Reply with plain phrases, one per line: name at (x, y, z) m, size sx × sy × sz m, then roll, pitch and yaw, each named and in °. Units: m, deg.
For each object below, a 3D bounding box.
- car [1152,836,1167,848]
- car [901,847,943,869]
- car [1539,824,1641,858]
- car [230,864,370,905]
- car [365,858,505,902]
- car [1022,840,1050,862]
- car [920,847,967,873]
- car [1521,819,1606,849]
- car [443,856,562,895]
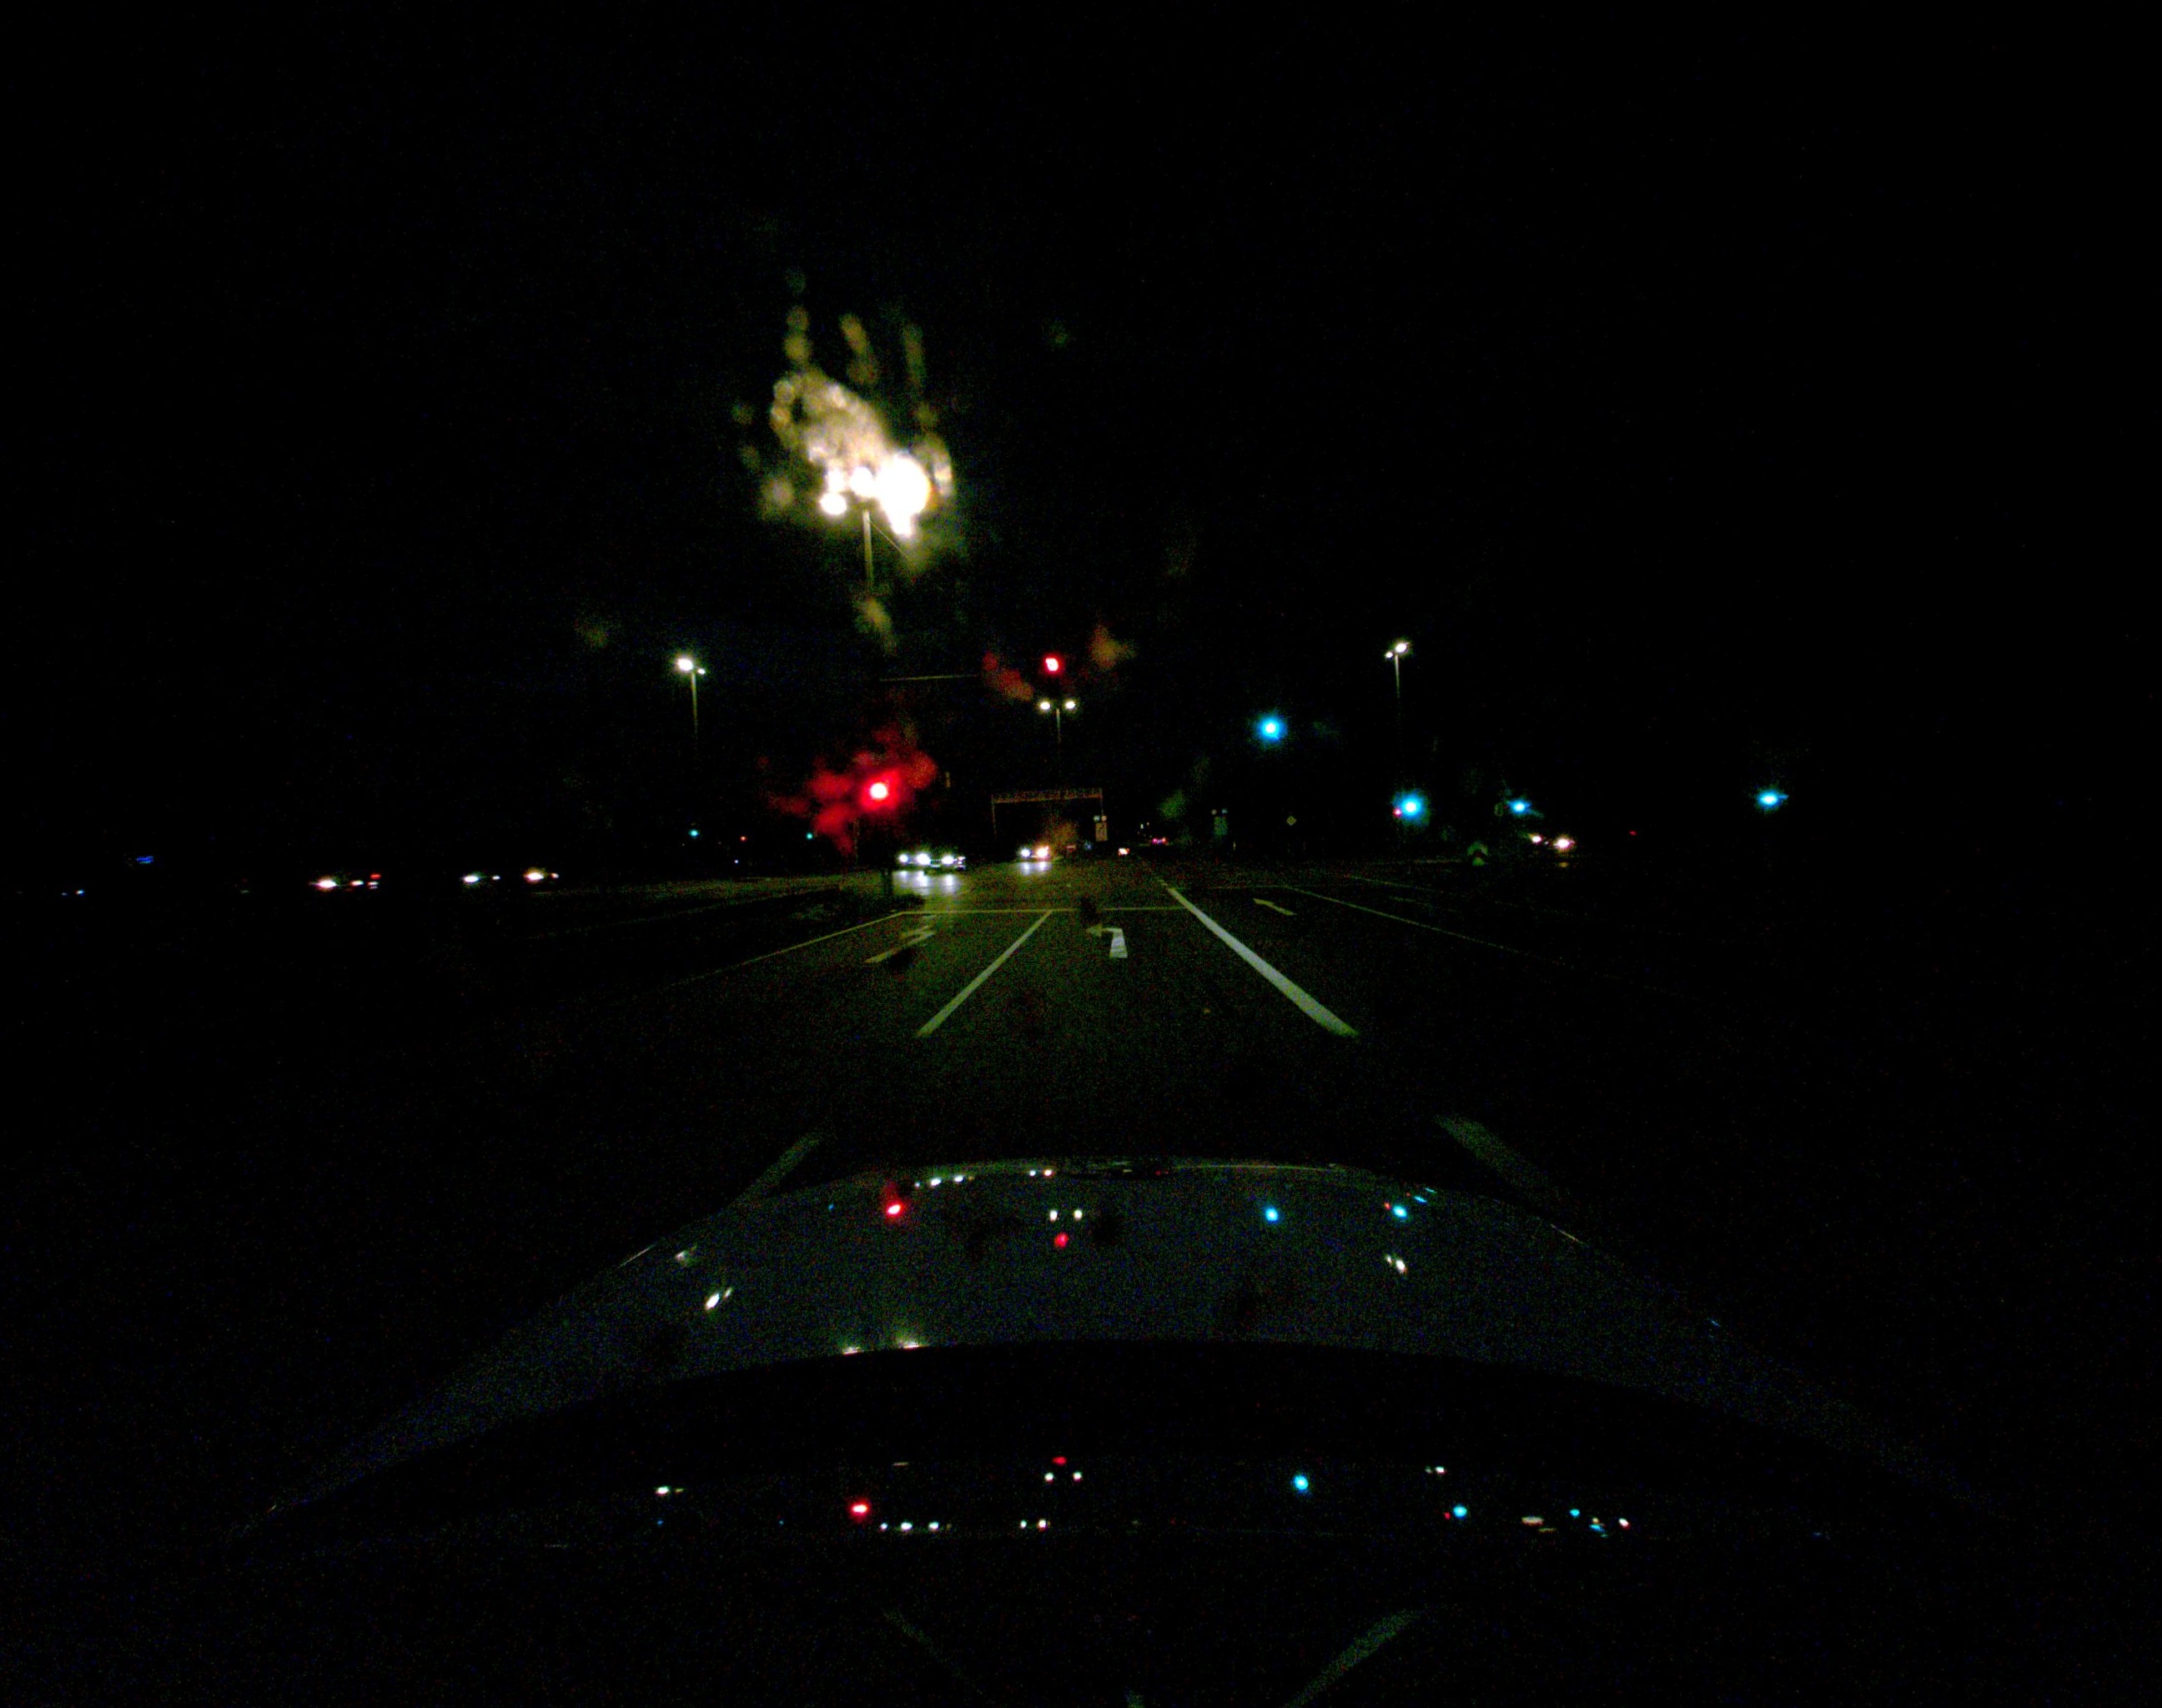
car at (10.915, -1.699, 113.791) m, size 1.998 × 1.611 × 3.850 m, roll -1°, pitch 0°, yaw 5°
car at (-11.435, 0.232, 58.763) m, size 1.986 × 1.425 × 4.534 m, roll -2°, pitch 1°, yaw 1°
car at (26.392, -0.675, 42.309) m, size 4.061 × 1.569 × 2.002 m, roll -2°, pitch 1°, yaw -1°
car at (-32.519, 1.239, 34.006) m, size 3.979 × 1.473 × 1.727 m, roll -2°, pitch 0°, yaw -4°
car at (-26.449, 1.045, 33.429) m, size 4.298 × 1.537 × 1.730 m, roll -2°, pitch 0°, yaw 1°
car at (-3.765, -0.297, 68.866) m, size 1.986 × 1.698 × 4.002 m, roll -2°, pitch 1°, yaw 1°
car at (-8.508, 0.318, 50.910) m, size 1.986 × 1.481 × 4.684 m, roll -2°, pitch 1°, yaw 1°
car at (28.940, -1.192, 48.881) m, size 3.975 × 1.569 × 1.900 m, roll -2°, pitch 1°, yaw -1°
car at (-26.192, 0.954, 36.971) m, size 4.028 × 1.537 × 1.729 m, roll -2°, pitch 0°, yaw -1°
